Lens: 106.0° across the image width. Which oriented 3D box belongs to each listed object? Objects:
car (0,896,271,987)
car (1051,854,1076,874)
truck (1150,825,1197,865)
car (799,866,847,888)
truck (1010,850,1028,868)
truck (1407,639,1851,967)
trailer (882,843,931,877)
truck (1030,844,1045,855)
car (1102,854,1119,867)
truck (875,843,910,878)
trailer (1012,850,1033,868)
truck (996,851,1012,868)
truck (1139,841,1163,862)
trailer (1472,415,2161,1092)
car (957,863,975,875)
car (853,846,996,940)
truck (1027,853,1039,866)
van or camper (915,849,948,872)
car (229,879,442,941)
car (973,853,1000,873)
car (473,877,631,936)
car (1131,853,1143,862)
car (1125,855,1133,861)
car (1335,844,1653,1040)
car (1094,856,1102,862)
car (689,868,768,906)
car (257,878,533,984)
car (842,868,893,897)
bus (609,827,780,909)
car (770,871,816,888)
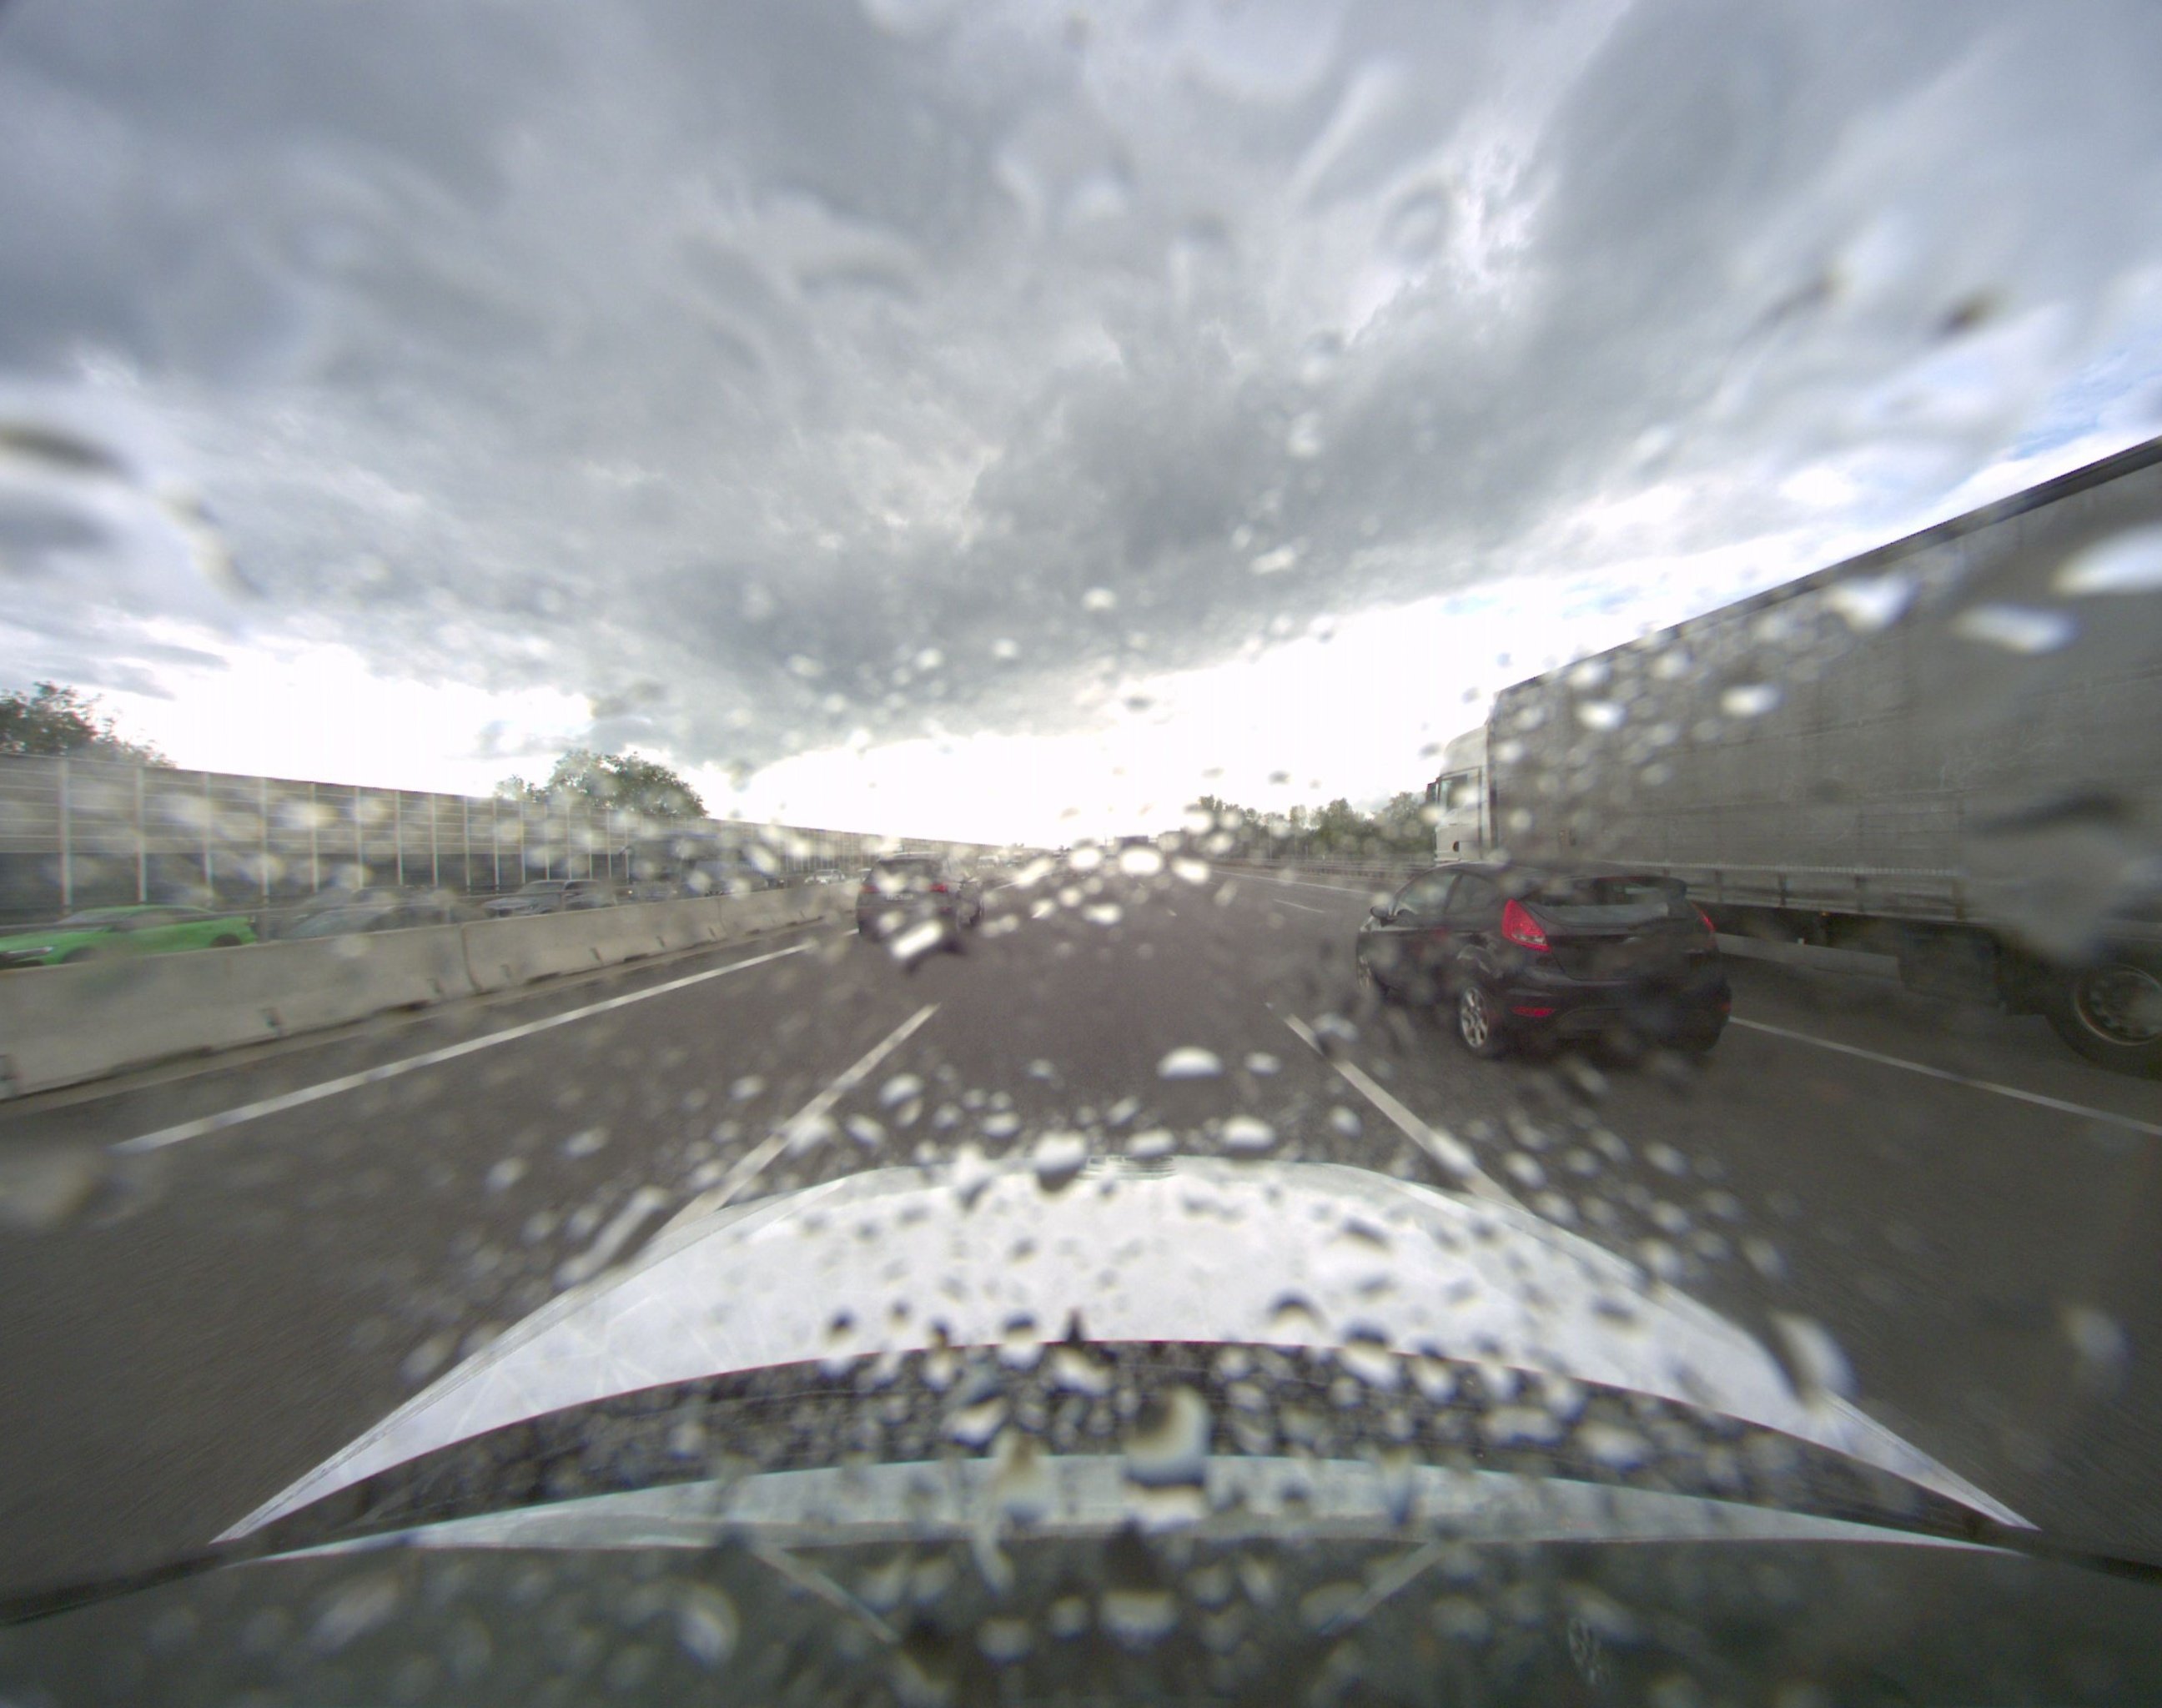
[{"bbox_3d":[-20.850,1.794,17.682,1.742,1.430,4.716,-2,0,0],"label":"car"},{"bbox_3d":[-1.303,0.755,61.819,1.755,1.369,5.058,-1,1,-1],"label":"car"},{"bbox_3d":[10.446,-0.988,93.730,4.166,4.288,12.613,0,0,0],"label":"truck"},{"bbox_3d":[-19.514,1.715,61.839,1.875,1.525,4.823,-2,0,2],"label":"car"},{"bbox_3d":[-13.822,1.075,181.697,3.067,3.935,8.058,0,0,2],"label":"truck"},{"bbox_3d":[8.104,-0.662,13.376,2.950,4.019,6.591,-1,0,1],"label":"truck"},{"bbox_3d":[-21.719,0.680,102.208,2.553,3.935,13.824,0,0,2],"label":"trailer"},{"bbox_3d":[-13.331,-1.291,251.507,3.254,3.352,16.093,0,0,2],"label":"truck"},{"bbox_3d":[3.459,0.706,95.002,1.767,1.441,4.054,-1,1,-1],"label":"car"},{"bbox_3d":[-22.000,0.719,95.291,2.566,3.935,5.180,0,0,2],"label":"truck"},{"bbox_3d":[-13.496,1.031,189.413,3.067,3.935,14.991,0,0,2],"label":"trailer"},{"bbox_3d":[-18.170,1.228,192.929,2.700,4.074,8.920,0,0,2],"label":"truck"},{"bbox_3d":[14.449,-0.534,169.535,4.229,4.176,11.991,0,0,1],"label":"truck"},{"bbox_3d":[7.944,-0.628,6.694,2.950,4.019,14.122,-1,1,1],"label":"trailer"},{"bbox_3d":[-17.471,2.291,123.714,1.916,1.599,4.255,-2,0,2],"label":"car"},{"bbox_3d":[-3.160,0.723,17.601,1.901,1.691,5.170,-1,0,1],"label":"car"},{"bbox_3d":[-12.967,1.399,221.610,2.312,3.347,8.358,0,0,2],"label":"truck"},{"bbox_3d":[-17.988,0.723,98.454,2.335,2.641,7.153,-2,0,2],"label":"van or camper"},{"bbox_3d":[-24.756,1.783,27.459,1.740,1.611,5.691,-2,0,2],"label":"car"},{"bbox_3d":[-10.884,0.988,94.172,2.151,2.071,6.018,-2,0,2],"label":"car"},{"bbox_3d":[-17.058,1.623,26.606,1.740,1.525,4.930,-2,0,2],"label":"car"},{"bbox_3d":[9.606,0.568,140.428,1.829,1.441,4.056,-1,1,1],"label":"car"},{"bbox_3d":[11.711,0.984,199.797,1.829,1.441,4.056,-1,1,1],"label":"car"},{"bbox_3d":[3.595,0.651,7.697,1.442,1.441,3.164,-1,0,1],"label":"car"},{"bbox_3d":[3.888,1.202,189.687,1.767,1.441,3.873,-1,1,-1],"label":"car"},{"bbox_3d":[-16.664,1.526,38.741,1.740,1.525,4.180,-2,0,2],"label":"car"},{"bbox_3d":[-13.153,1.387,16.037,1.740,1.608,4.180,-2,0,2],"label":"car"},{"bbox_3d":[-12.595,1.651,48.335,1.740,1.525,4.180,-2,0,2],"label":"car"},{"bbox_3d":[-20.439,0.622,44.352,3.080,3.758,11.888,-2,0,2],"label":"bus"},{"bbox_3d":[-22.982,1.988,65.064,1.875,1.114,4.496,-2,0,2],"label":"car"}]
